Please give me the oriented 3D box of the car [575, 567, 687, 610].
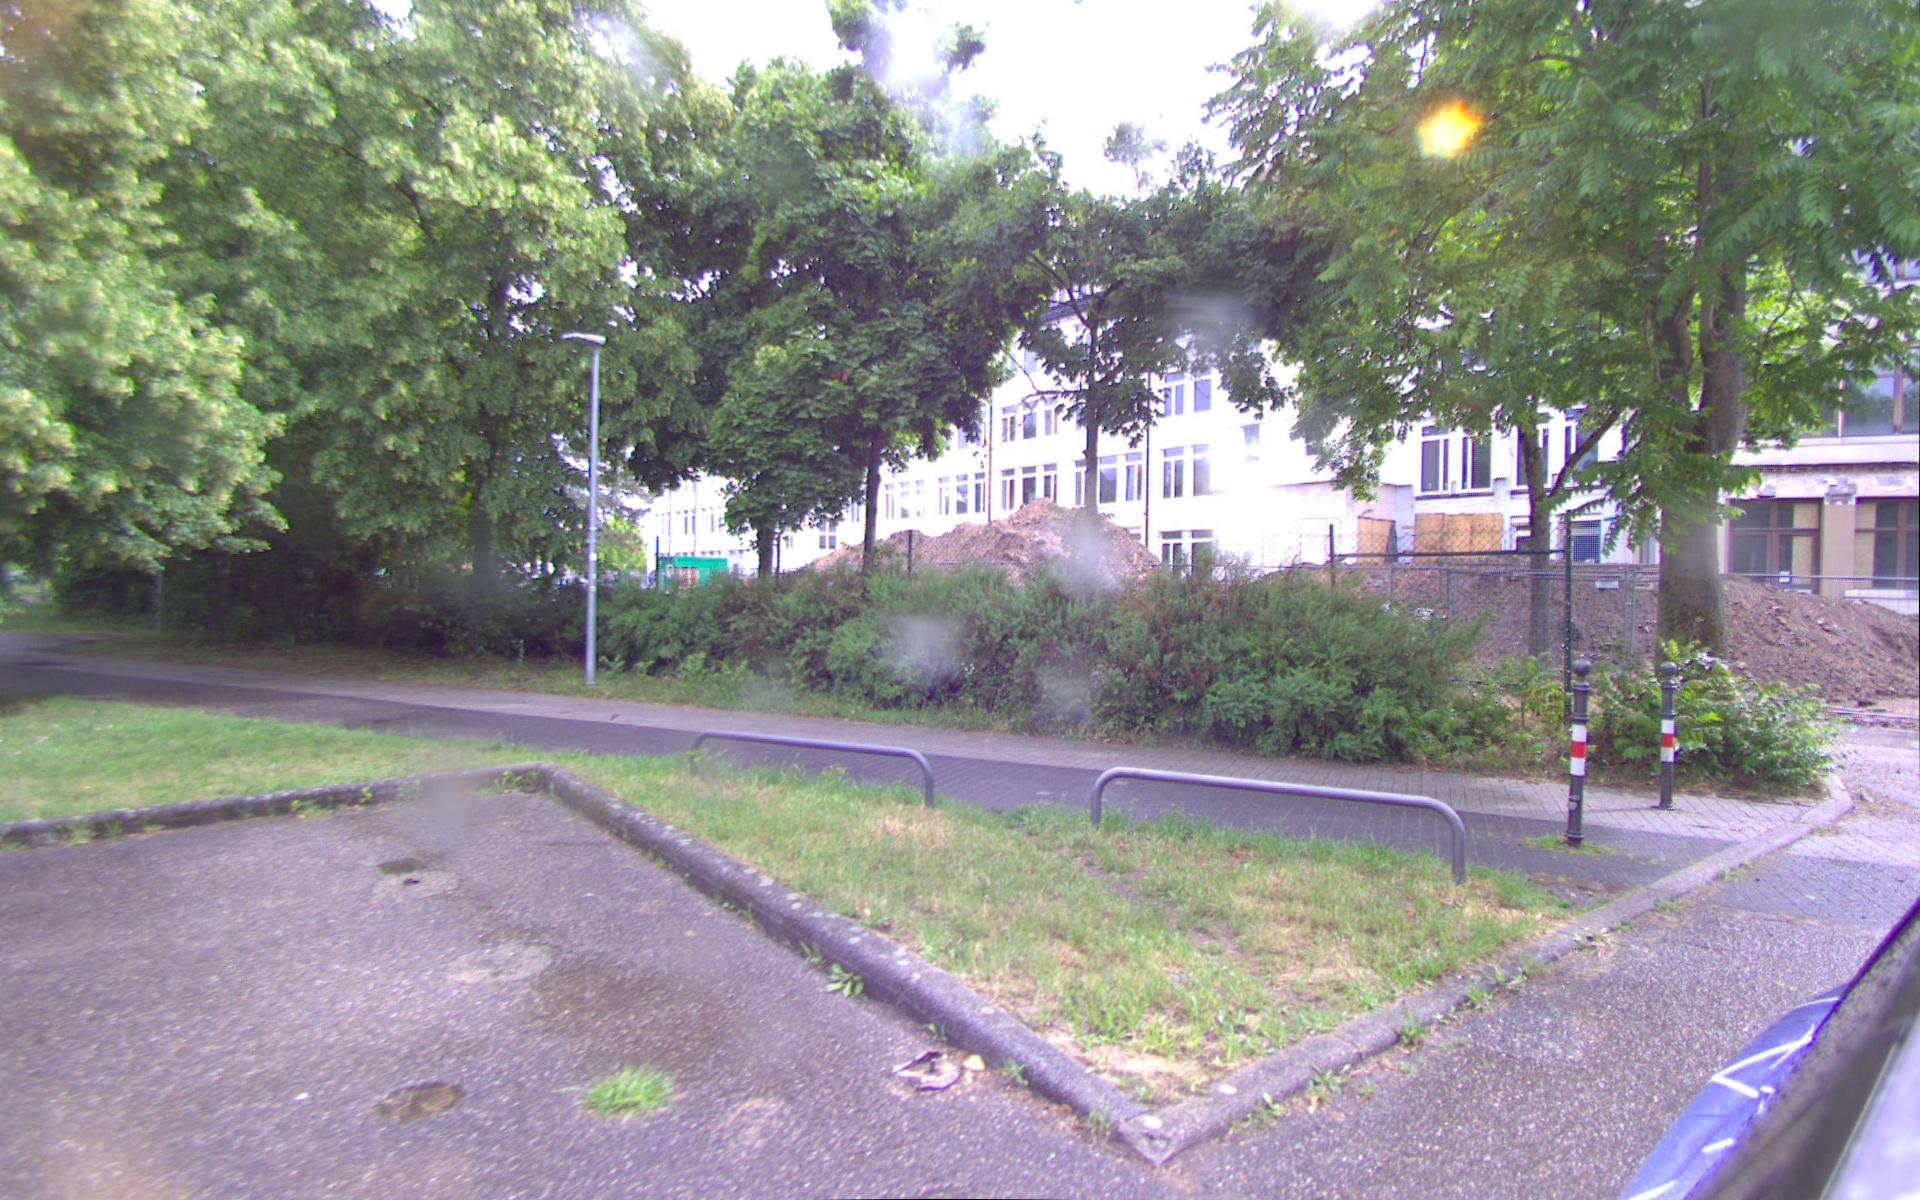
[{"bbox_3d":[-16.048,-0.587,49.499,4.701,1.964,2.401,-1,3,-38],"label":"car"}]
